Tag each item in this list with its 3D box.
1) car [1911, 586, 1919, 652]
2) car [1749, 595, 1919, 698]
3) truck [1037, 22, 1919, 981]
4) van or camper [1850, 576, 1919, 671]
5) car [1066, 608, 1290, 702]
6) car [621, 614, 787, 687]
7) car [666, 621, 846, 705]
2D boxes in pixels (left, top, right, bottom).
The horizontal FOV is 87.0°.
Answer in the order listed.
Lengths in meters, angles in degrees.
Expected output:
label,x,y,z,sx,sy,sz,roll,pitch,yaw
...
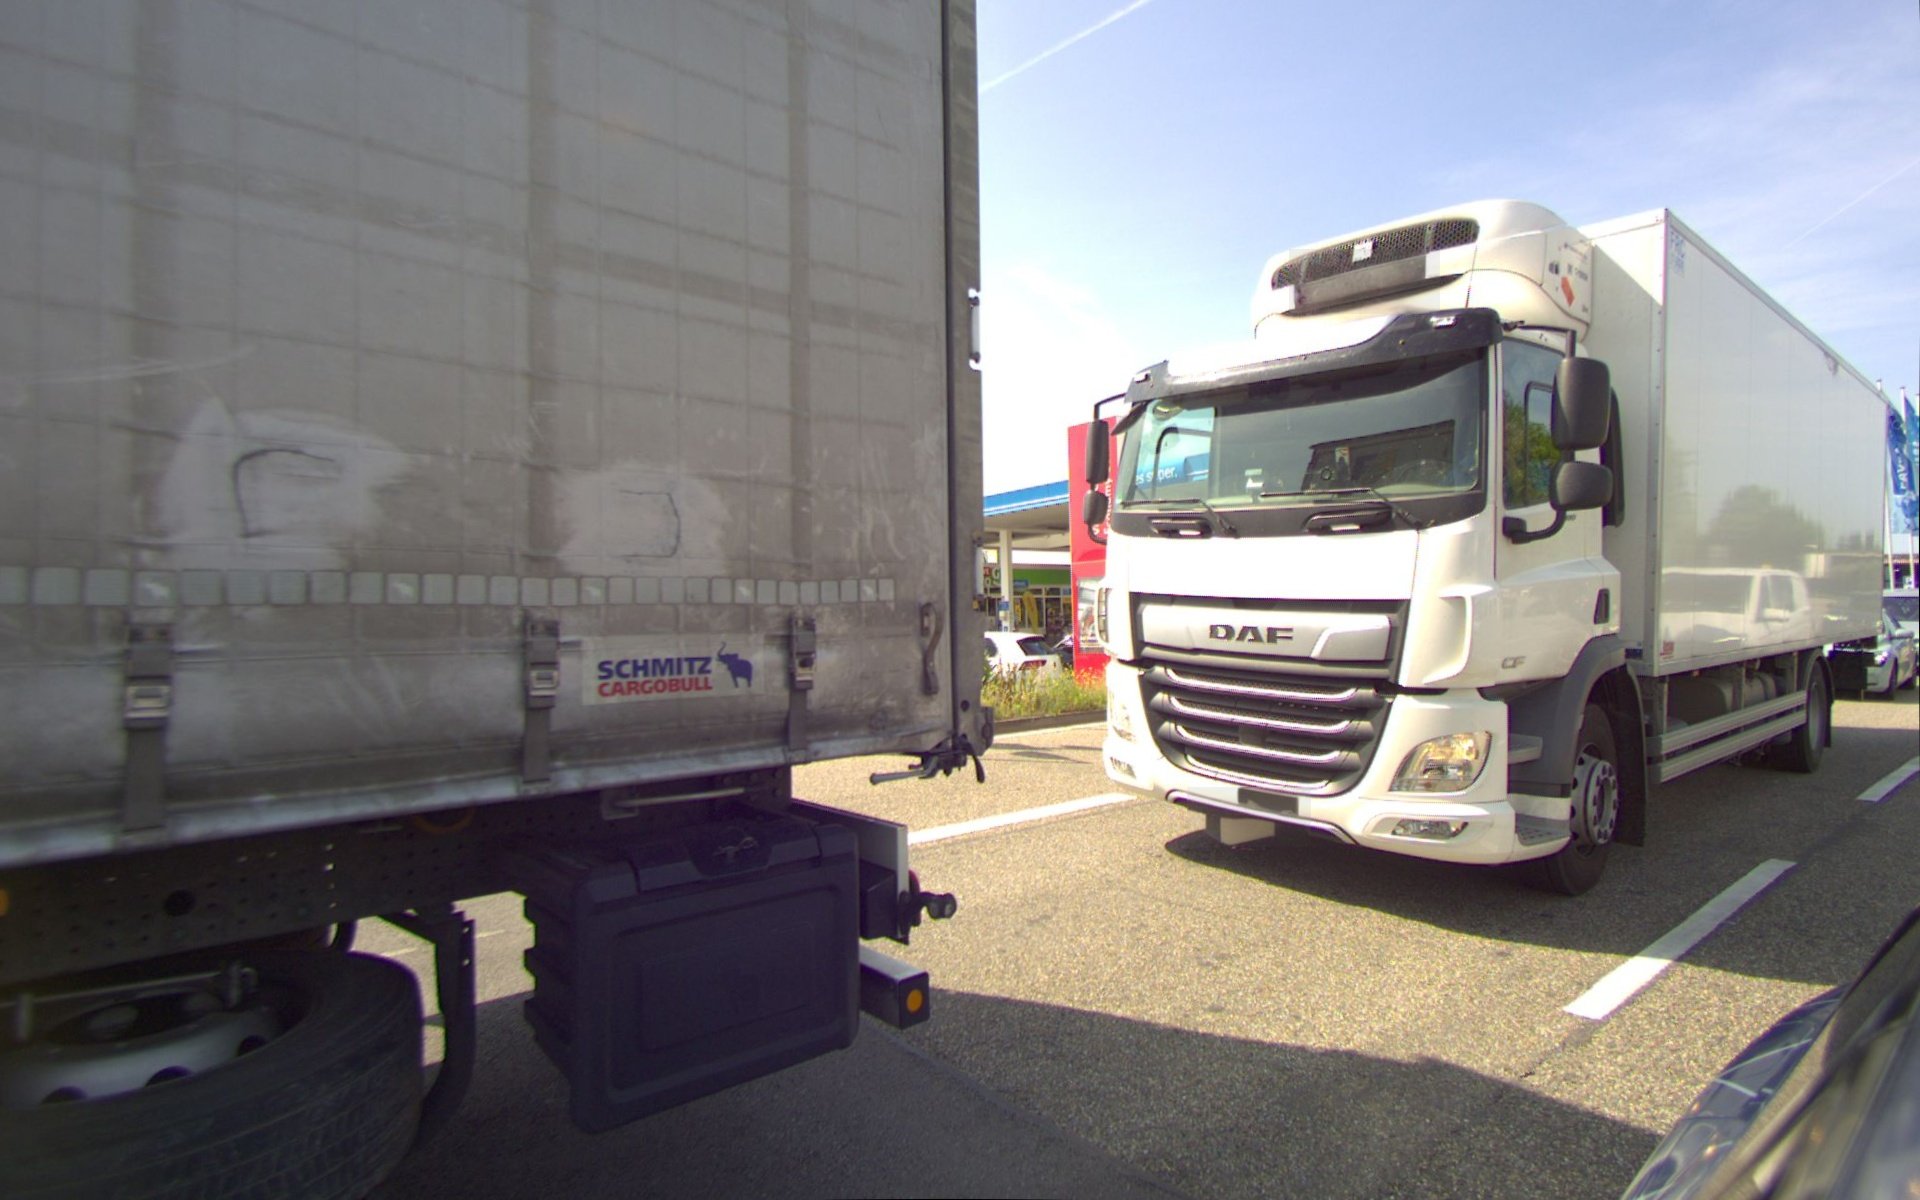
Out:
label,x,y,z,sx,sy,sz,roll,pitch,yaw
car,25.065,0.459,24.953,3.645,1.592,1.806,0,1,-38
car,14.357,0.664,16.370,4.151,1.447,1.738,0,-1,-41
truck,5.566,-0.410,8.744,10.945,3.859,2.884,0,-1,-41
van or camper,20.276,0.437,21.162,5.042,1.810,1.750,0,-1,-40
car,3.793,0.890,17.651,3.560,1.427,1.549,1,1,27
car,-6.424,1.221,25.622,3.793,1.614,1.561,0,1,-41
car,-4.723,1.386,23.701,3.793,1.678,1.691,0,1,-41
